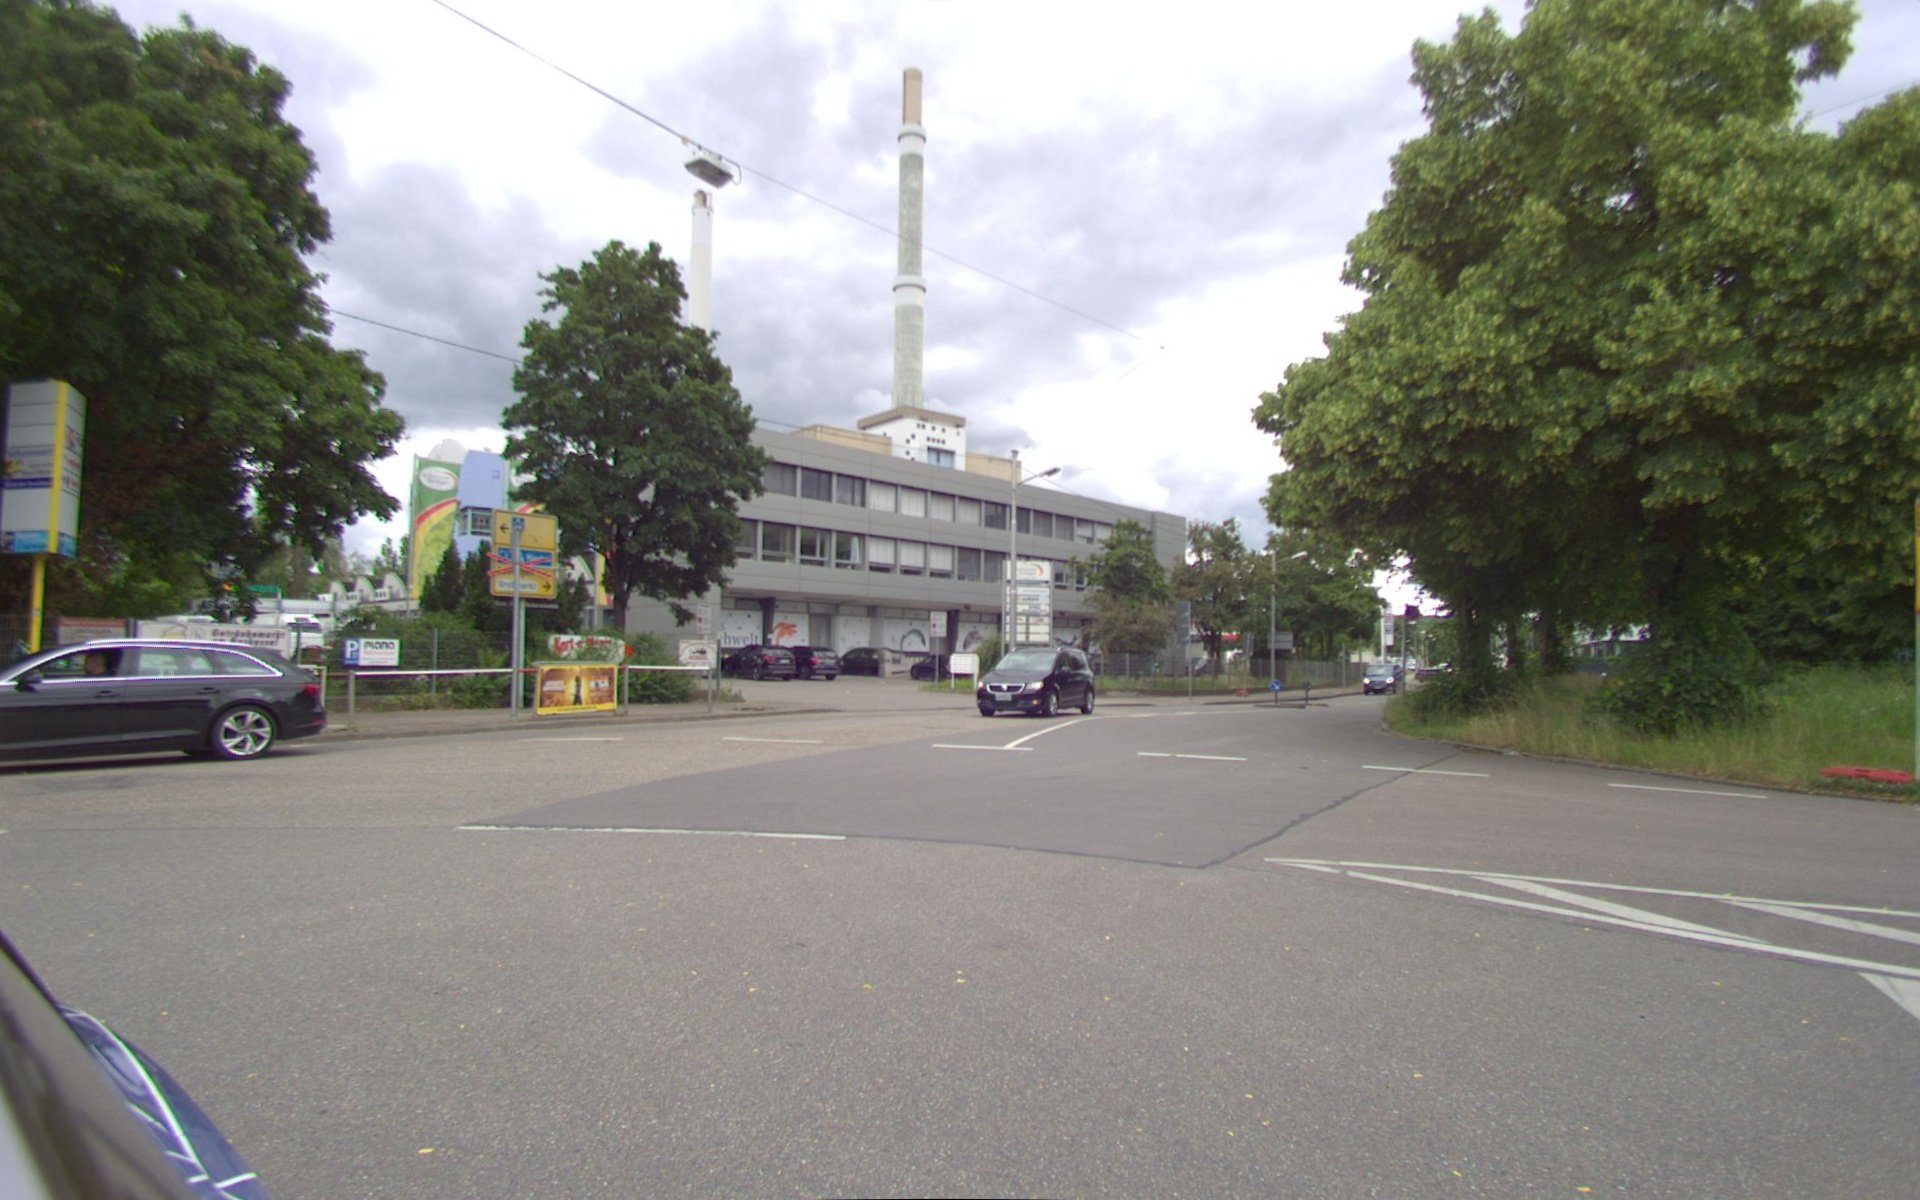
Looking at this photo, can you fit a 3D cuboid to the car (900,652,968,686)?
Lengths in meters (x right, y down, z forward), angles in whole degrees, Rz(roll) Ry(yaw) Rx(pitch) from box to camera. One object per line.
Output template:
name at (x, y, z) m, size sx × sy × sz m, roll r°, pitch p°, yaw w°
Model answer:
car at (-1.414, 3.720, 55.004) m, size 1.723 × 1.564 × 3.614 m, roll -1°, pitch 0°, yaw -43°

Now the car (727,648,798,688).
car at (-9.528, 3.237, 48.745) m, size 1.751 × 1.691 × 3.576 m, roll -1°, pitch 0°, yaw -43°

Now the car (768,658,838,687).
car at (-7.869, 3.585, 50.559) m, size 1.751 × 1.187 × 3.576 m, roll -1°, pitch 0°, yaw -43°

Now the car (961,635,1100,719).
car at (1.758, 1.844, 23.800) m, size 1.823 × 1.785 × 4.192 m, roll -2°, pitch -6°, yaw 26°

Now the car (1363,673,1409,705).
car at (27.829, 5.789, 66.040) m, size 1.828 × 1.960 × 4.746 m, roll -2°, pitch -4°, yaw 34°

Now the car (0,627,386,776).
car at (-9.681, 1.125, 11.452) m, size 1.997 × 1.468 × 5.155 m, roll -4°, pitch -6°, yaw 37°
